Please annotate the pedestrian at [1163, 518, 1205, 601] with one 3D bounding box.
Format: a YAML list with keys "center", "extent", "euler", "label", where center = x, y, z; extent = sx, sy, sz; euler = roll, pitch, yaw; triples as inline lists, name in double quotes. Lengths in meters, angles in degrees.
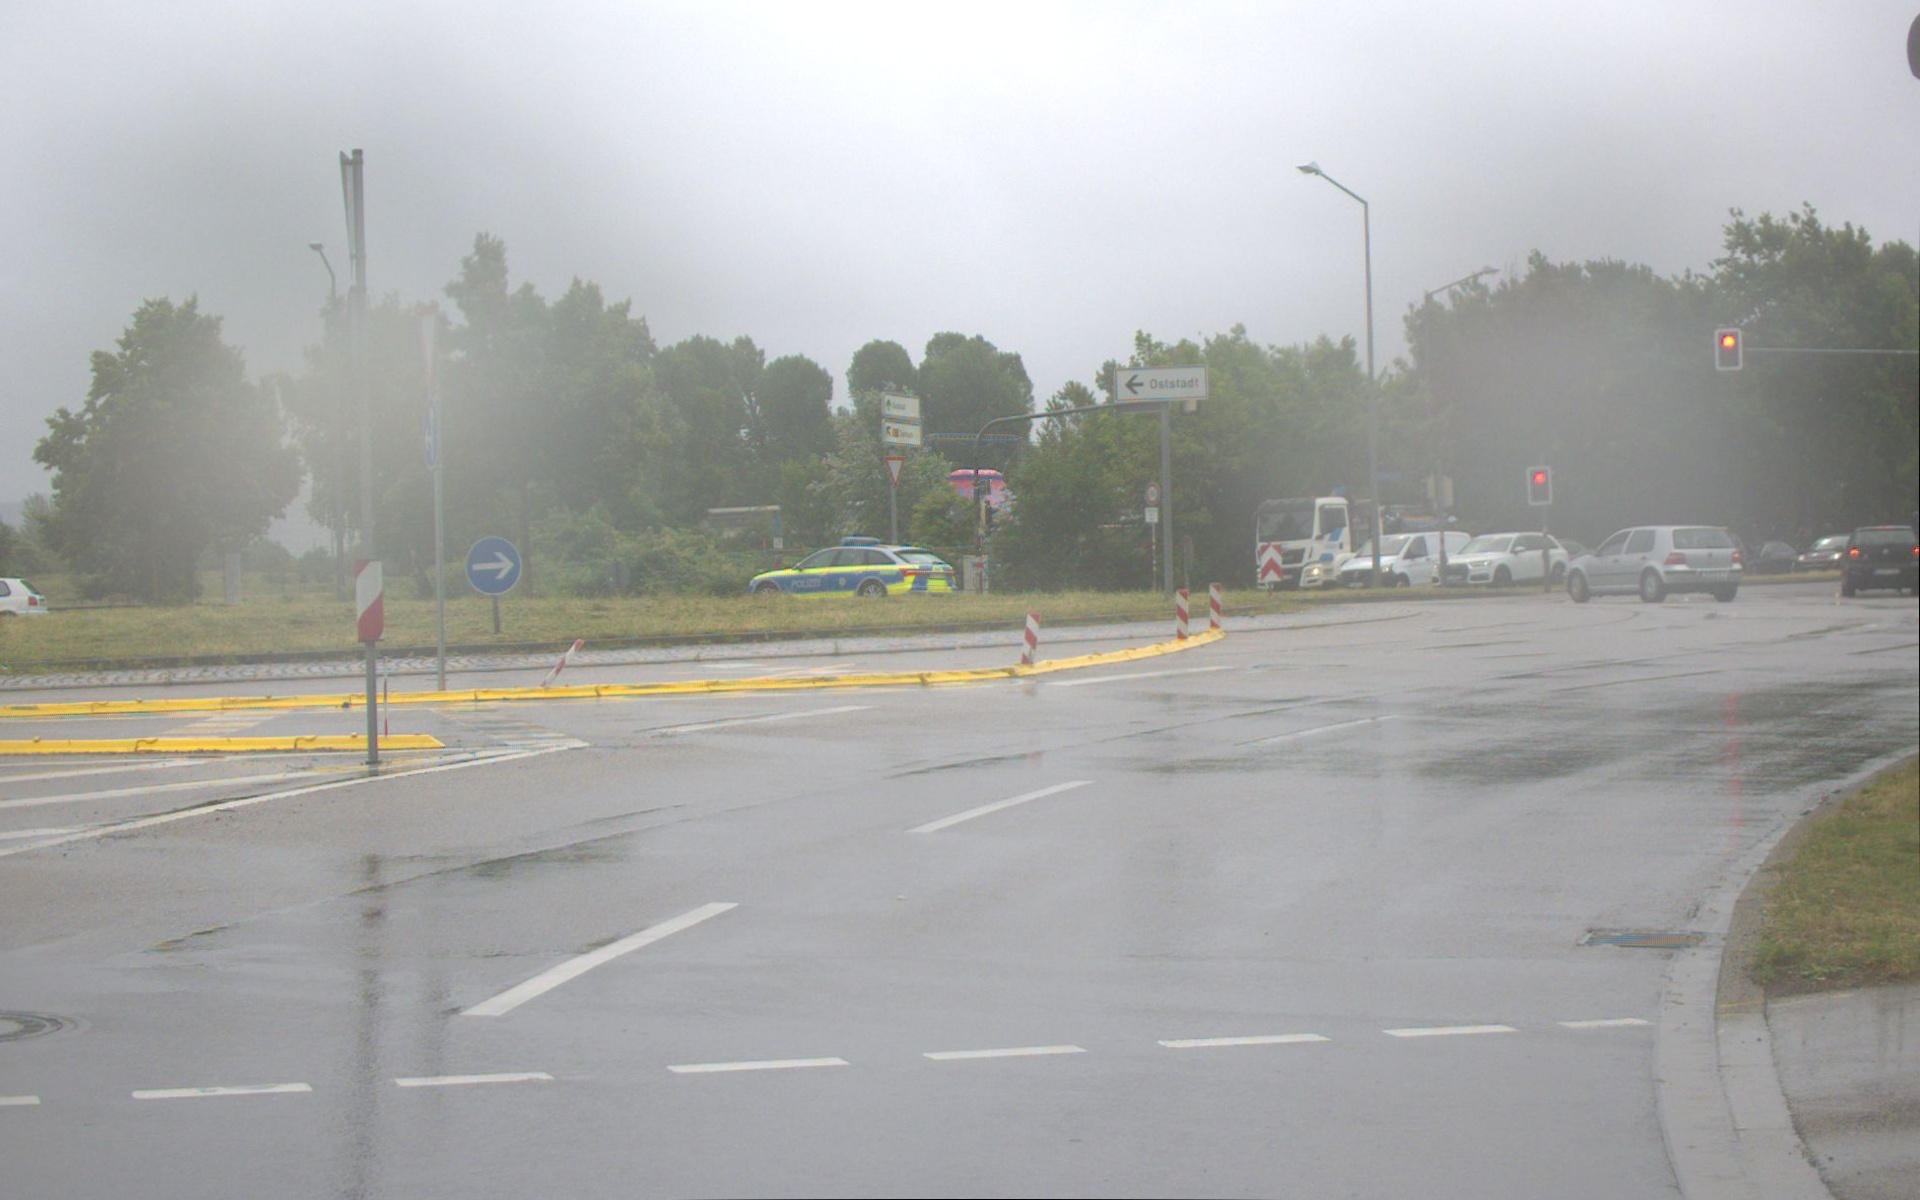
- center: [3.543, -0.638, 54.348]
  extent: [0.453, 1.300, 0.485]
  euler: [-1, 1, 38]
  label: "pedestrian"

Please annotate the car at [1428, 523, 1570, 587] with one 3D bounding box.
- center: [14.853, -1.223, 94.598]
  extent: [1.800, 1.656, 4.399]
  euler: [1, 0, 41]
  label: "car"

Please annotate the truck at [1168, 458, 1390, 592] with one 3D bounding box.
- center: [6.976, -1.552, 74.111]
  extent: [2.464, 2.677, 8.049]
  euler: [1, 0, 23]
  label: "truck"

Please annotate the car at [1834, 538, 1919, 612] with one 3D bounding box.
- center: [19.002, -0.538, 71.086]
  extent: [1.619, 1.449, 3.986]
  euler: [-1, 1, 12]
  label: "car"

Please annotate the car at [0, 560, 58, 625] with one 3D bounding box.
- center: [-22.843, -0.147, 78.670]
  extent: [3.974, 1.449, 1.623]
  euler: [-1, 1, -1]
  label: "car"

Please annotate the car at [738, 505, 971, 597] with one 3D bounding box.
- center: [-2.254, -1.032, 72.621]
  extent: [4.771, 1.845, 1.995]
  euler: [0, 1, 40]
  label: "car"

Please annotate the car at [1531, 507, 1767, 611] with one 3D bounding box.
- center: [12.803, -0.744, 64.163]
  extent: [1.993, 1.845, 4.777]
  euler: [1, 0, -22]
  label: "car"

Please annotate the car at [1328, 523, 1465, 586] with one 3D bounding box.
- center: [12.236, -1.265, 96.182]
  extent: [1.800, 1.656, 4.124]
  euler: [1, 0, 41]
  label: "car"

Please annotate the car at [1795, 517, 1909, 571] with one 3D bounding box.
- center: [28.875, -1.829, 111.229]
  extent: [1.800, 1.656, 4.399]
  euler: [0, 1, 41]
  label: "car"
